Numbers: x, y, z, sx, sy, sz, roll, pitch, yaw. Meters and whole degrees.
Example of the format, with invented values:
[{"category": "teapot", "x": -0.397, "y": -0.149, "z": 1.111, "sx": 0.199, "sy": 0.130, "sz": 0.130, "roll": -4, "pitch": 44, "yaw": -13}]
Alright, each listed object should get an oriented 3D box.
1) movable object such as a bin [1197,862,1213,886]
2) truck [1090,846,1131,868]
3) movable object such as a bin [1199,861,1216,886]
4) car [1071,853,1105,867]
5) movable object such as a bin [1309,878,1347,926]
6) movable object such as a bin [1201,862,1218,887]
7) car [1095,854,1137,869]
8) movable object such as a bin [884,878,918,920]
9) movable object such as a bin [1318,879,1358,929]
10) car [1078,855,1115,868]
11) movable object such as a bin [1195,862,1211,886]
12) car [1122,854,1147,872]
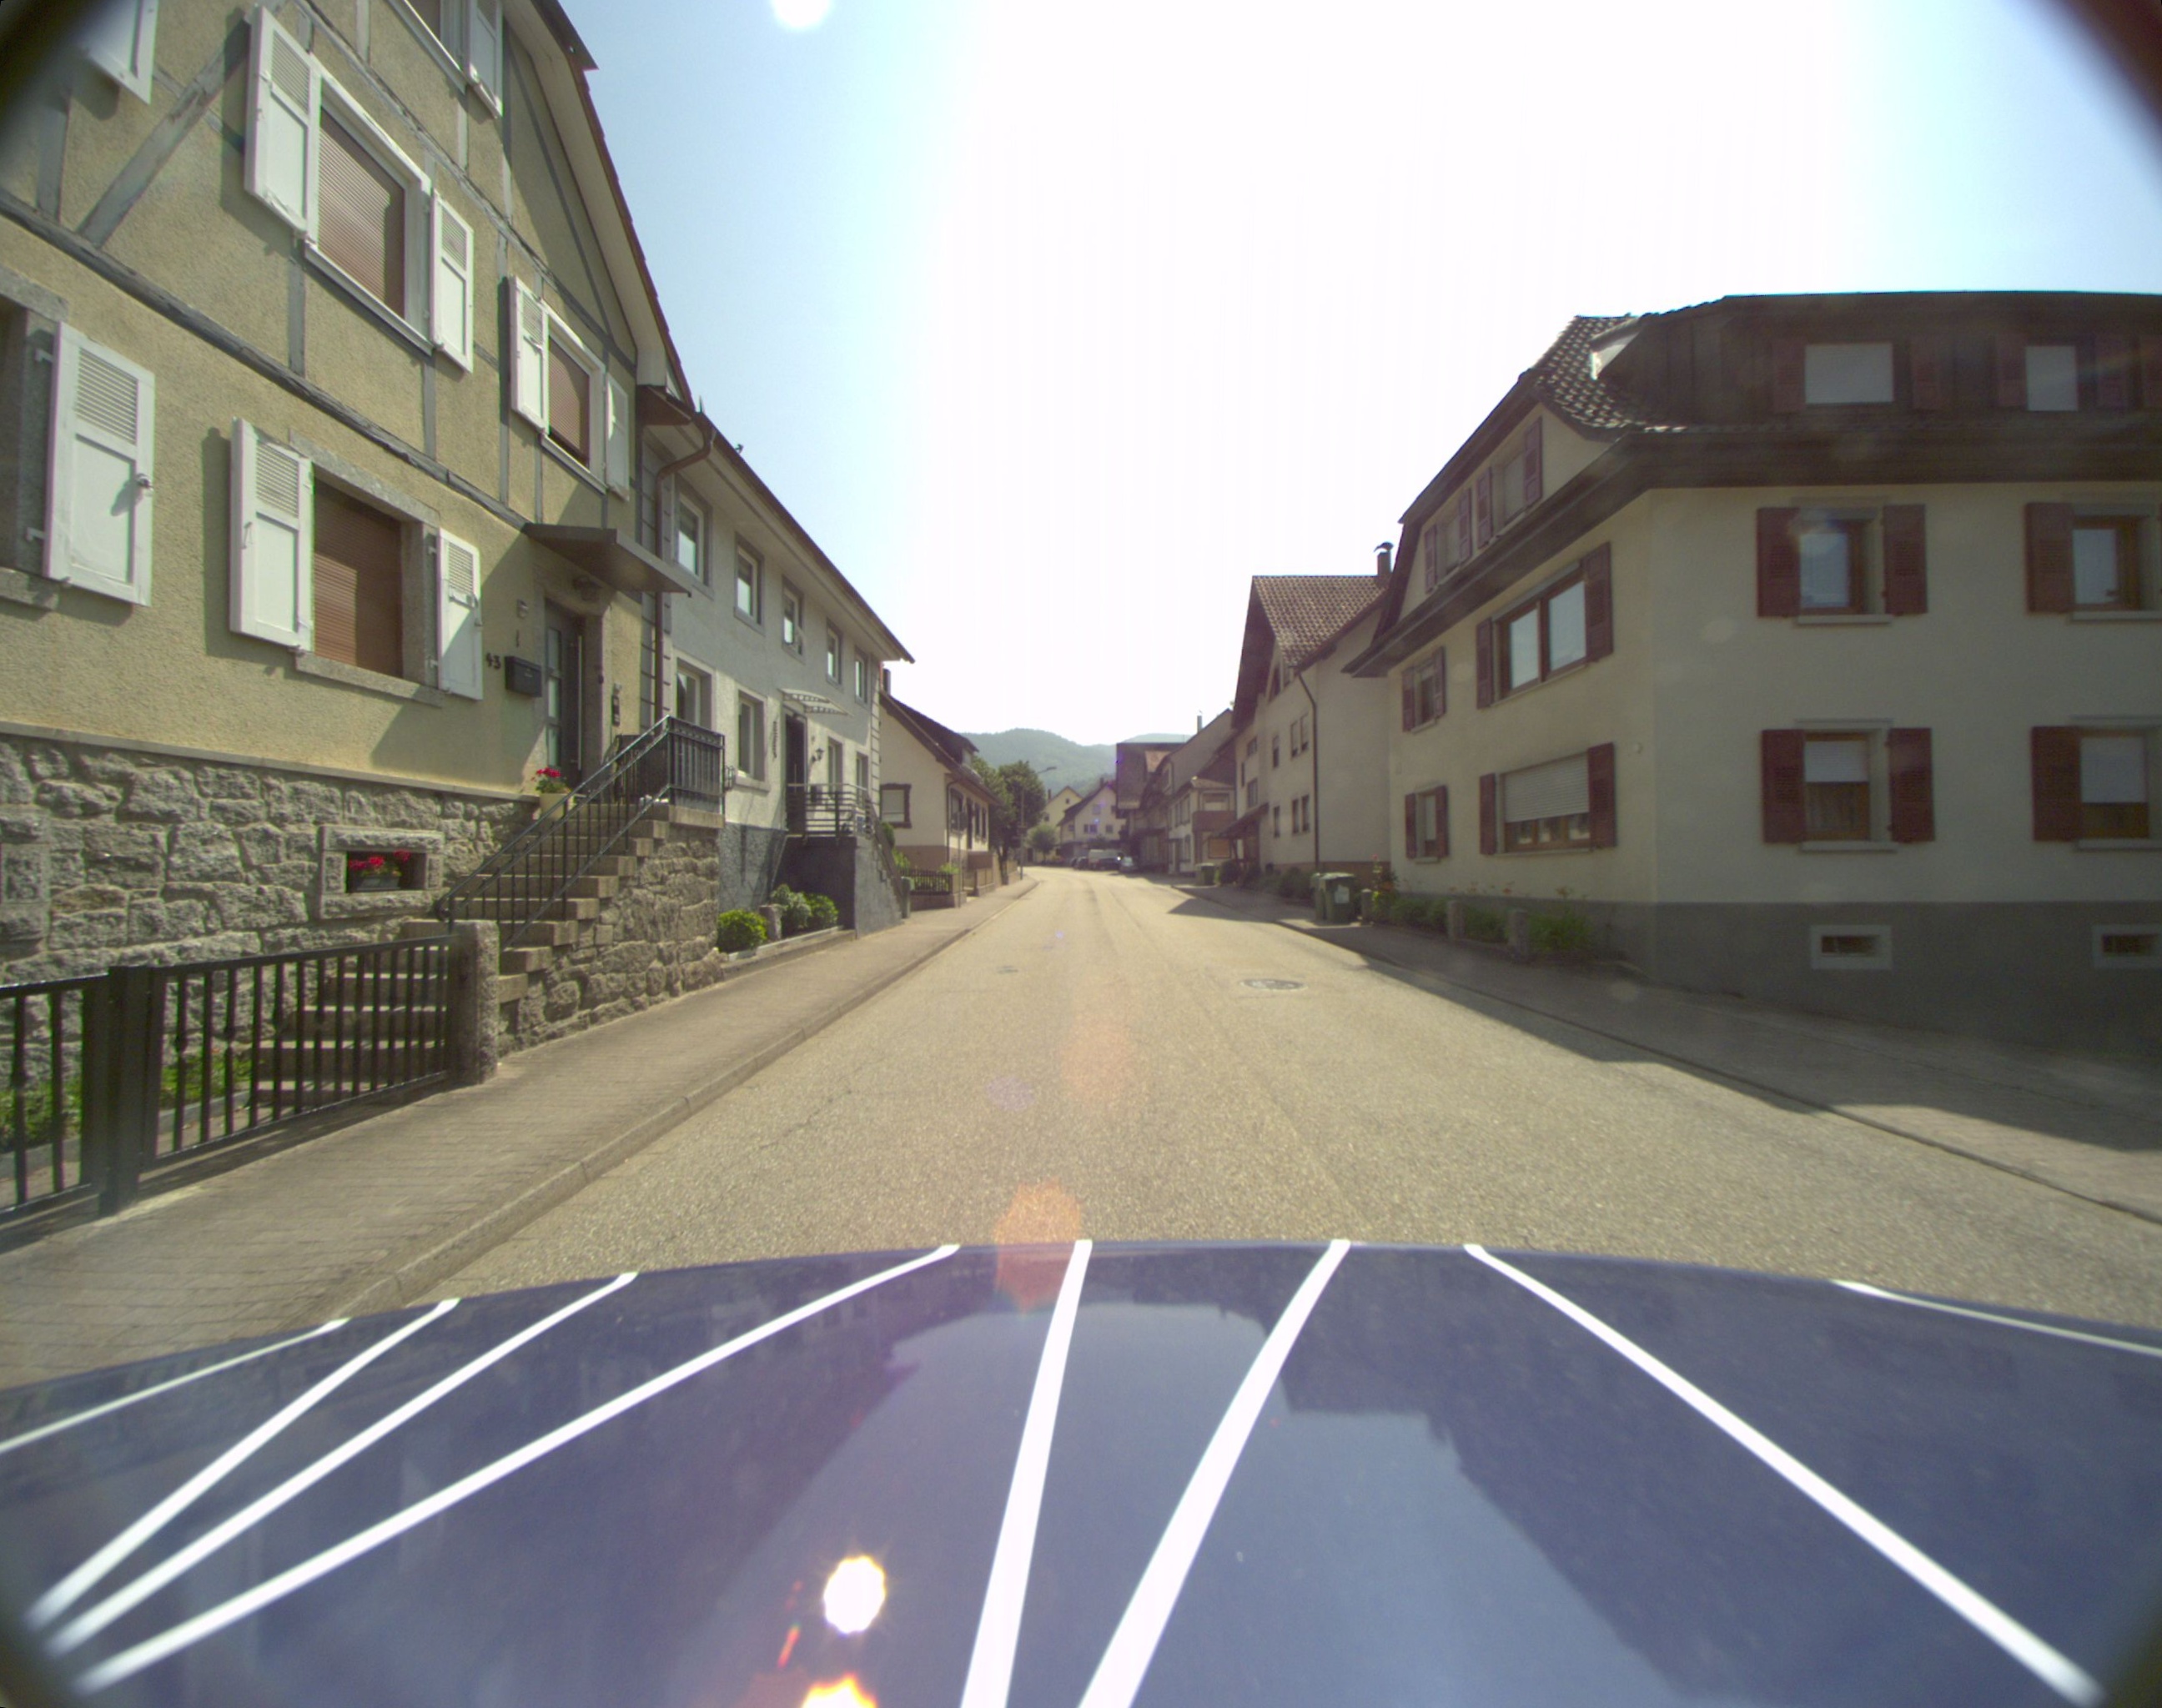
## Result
[{"category": "movable object such as a bin", "x": 6.225, "y": 0.990, "z": 38.190, "sx": 0.719, "sy": 1.174, "sz": 0.598, "roll": 1, "pitch": 0, "yaw": 1}, {"category": "truck", "x": 3.171, "y": 0.279, "z": 82.143, "sx": 4.178, "sy": 2.253, "sz": 1.999, "roll": -1, "pitch": 0, "yaw": -6}, {"category": "movable object such as a bin", "x": 6.240, "y": 0.967, "z": 37.538, "sx": 0.719, "sy": 1.174, "sz": 0.598, "roll": 1, "pitch": 0, "yaw": 1}, {"category": "car", "x": 0.854, "y": 0.708, "z": 89.160, "sx": 3.996, "sy": 1.563, "sz": 1.577, "roll": 1, "pitch": 0, "yaw": 1}, {"category": "movable object such as a bin", "x": 5.758, "y": 1.108, "z": 17.725, "sx": 0.677, "sy": 1.060, "sz": 0.653, "roll": 0, "pitch": 1, "yaw": -2}, {"category": "movable object such as a bin", "x": 6.239, "y": 0.974, "z": 36.881, "sx": 0.719, "sy": 1.174, "sz": 0.598, "roll": 1, "pitch": 0, "yaw": 1}, {"category": "car", "x": 3.534, "y": 0.782, "z": 77.187, "sx": 4.106, "sy": 1.494, "sz": 1.753, "roll": 0, "pitch": 0, "yaw": -2}, {"category": "movable object such as a bin", "x": -4.570, "y": 1.140, "z": 19.331, "sx": 0.706, "sy": 1.014, "sz": 0.618, "roll": 0, "pitch": 1, "yaw": 1}, {"category": "movable object such as a bin", "x": 5.706, "y": 1.097, "z": 16.907, "sx": 0.677, "sy": 1.060, "sz": 0.621, "roll": 0, "pitch": 1, "yaw": -2}, {"category": "car", "x": 1.773, "y": 0.839, "z": 86.074, "sx": 3.999, "sy": 1.444, "sz": 1.627, "roll": 1, "pitch": 0, "yaw": -4}, {"category": "movable object such as a bin", "x": 6.238, "y": 1.021, "z": 38.850, "sx": 0.719, "sy": 1.174, "sz": 0.598, "roll": 1, "pitch": 0, "yaw": 1}, {"category": "car", "x": 4.894, "y": 0.777, "z": 69.706, "sx": 1.775, "sy": 1.544, "sz": 4.284, "roll": -2, "pitch": 0, "yaw": -3}]
